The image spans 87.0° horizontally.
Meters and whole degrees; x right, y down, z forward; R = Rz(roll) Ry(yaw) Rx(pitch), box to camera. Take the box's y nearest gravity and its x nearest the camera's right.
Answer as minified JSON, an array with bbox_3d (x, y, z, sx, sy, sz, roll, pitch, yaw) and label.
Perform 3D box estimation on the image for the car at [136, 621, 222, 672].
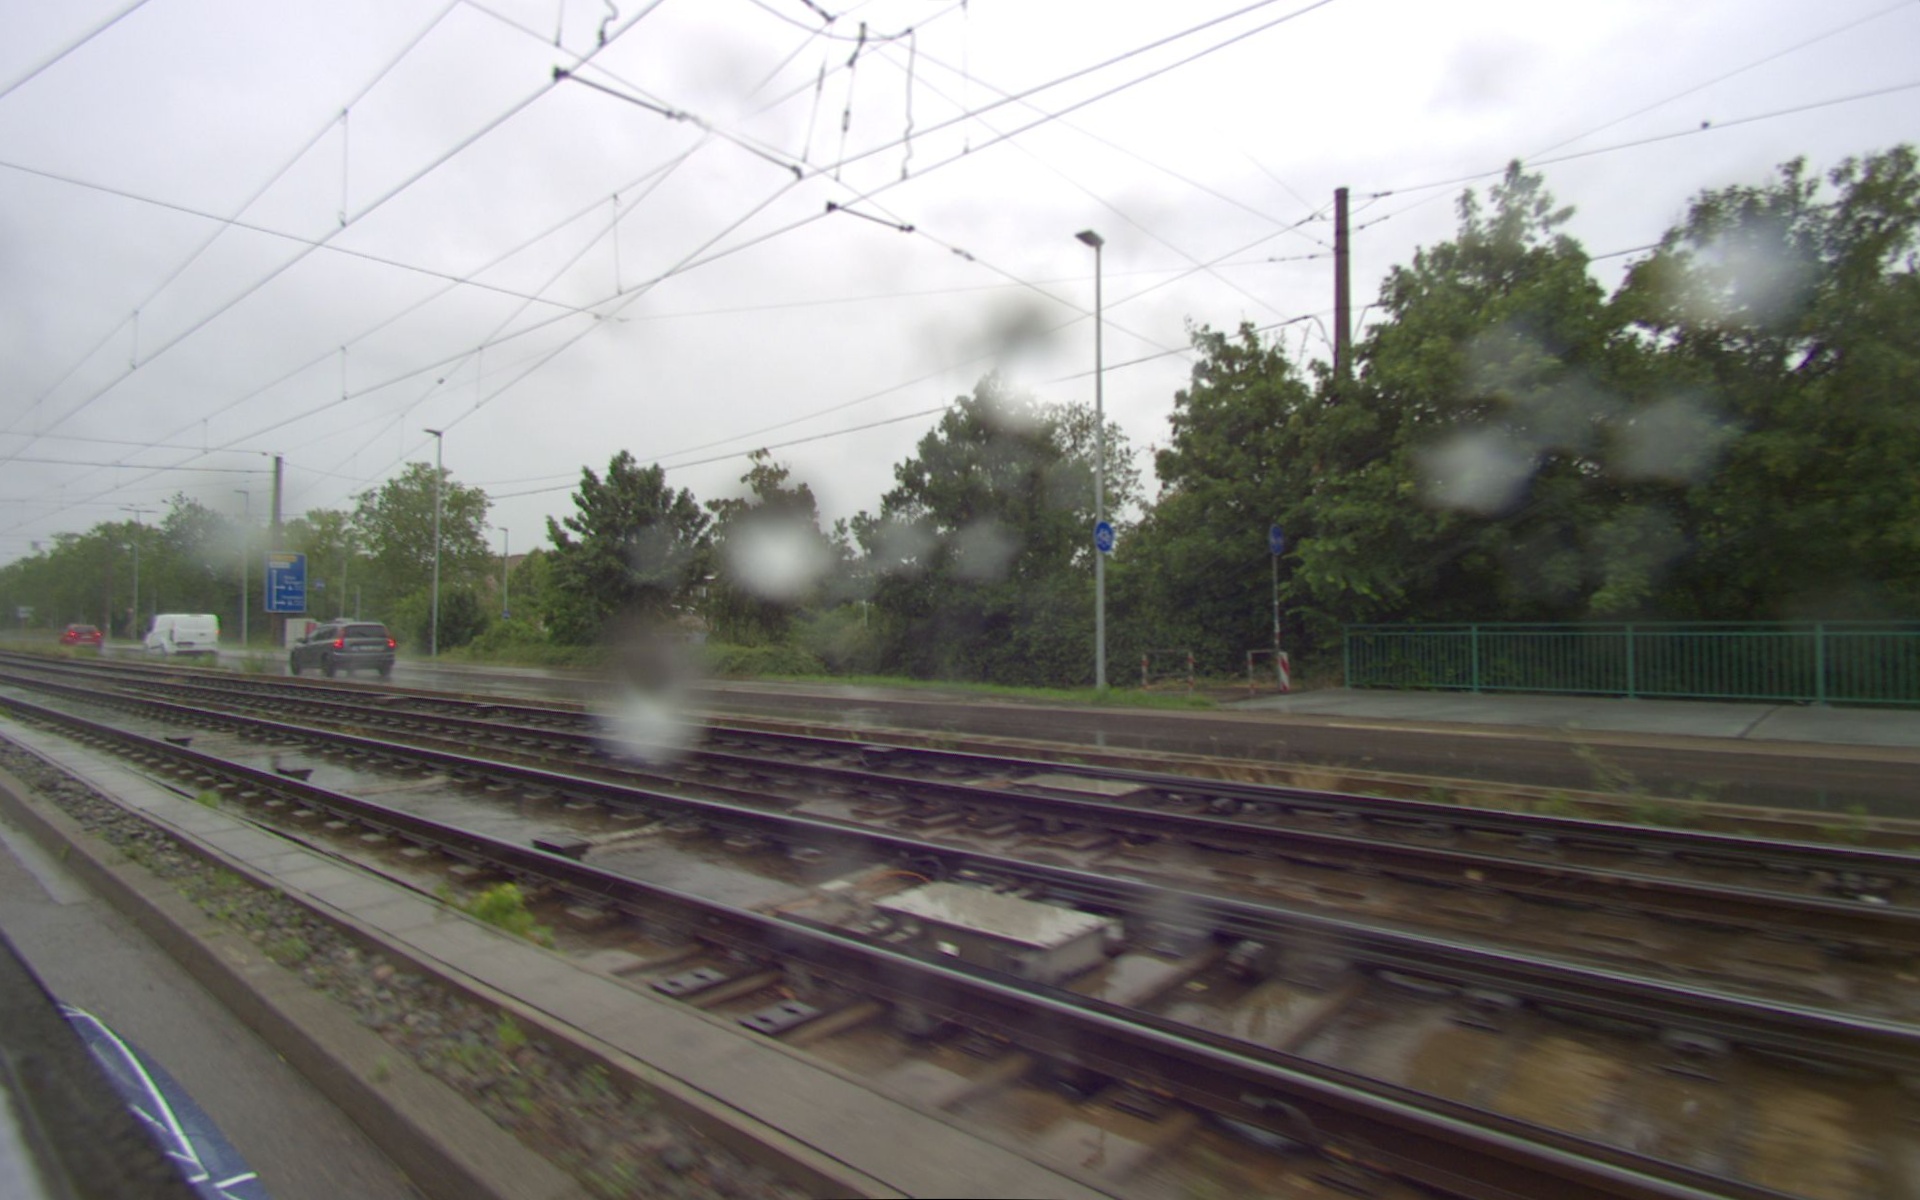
[{"bbox_3d":[-34.372,2.017,44.480,5.024,2.059,1.973,-2,-1,40],"label":"car"}]

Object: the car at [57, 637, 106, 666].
[{"bbox_3d":[-53.375,3.107,61.461,3.648,1.613,1.706,-1,0,40],"label":"car"}]

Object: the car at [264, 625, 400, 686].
[{"bbox_3d":[-19.220,1.636,30.868,5.367,1.661,1.973,-2,-1,40],"label":"car"}]
